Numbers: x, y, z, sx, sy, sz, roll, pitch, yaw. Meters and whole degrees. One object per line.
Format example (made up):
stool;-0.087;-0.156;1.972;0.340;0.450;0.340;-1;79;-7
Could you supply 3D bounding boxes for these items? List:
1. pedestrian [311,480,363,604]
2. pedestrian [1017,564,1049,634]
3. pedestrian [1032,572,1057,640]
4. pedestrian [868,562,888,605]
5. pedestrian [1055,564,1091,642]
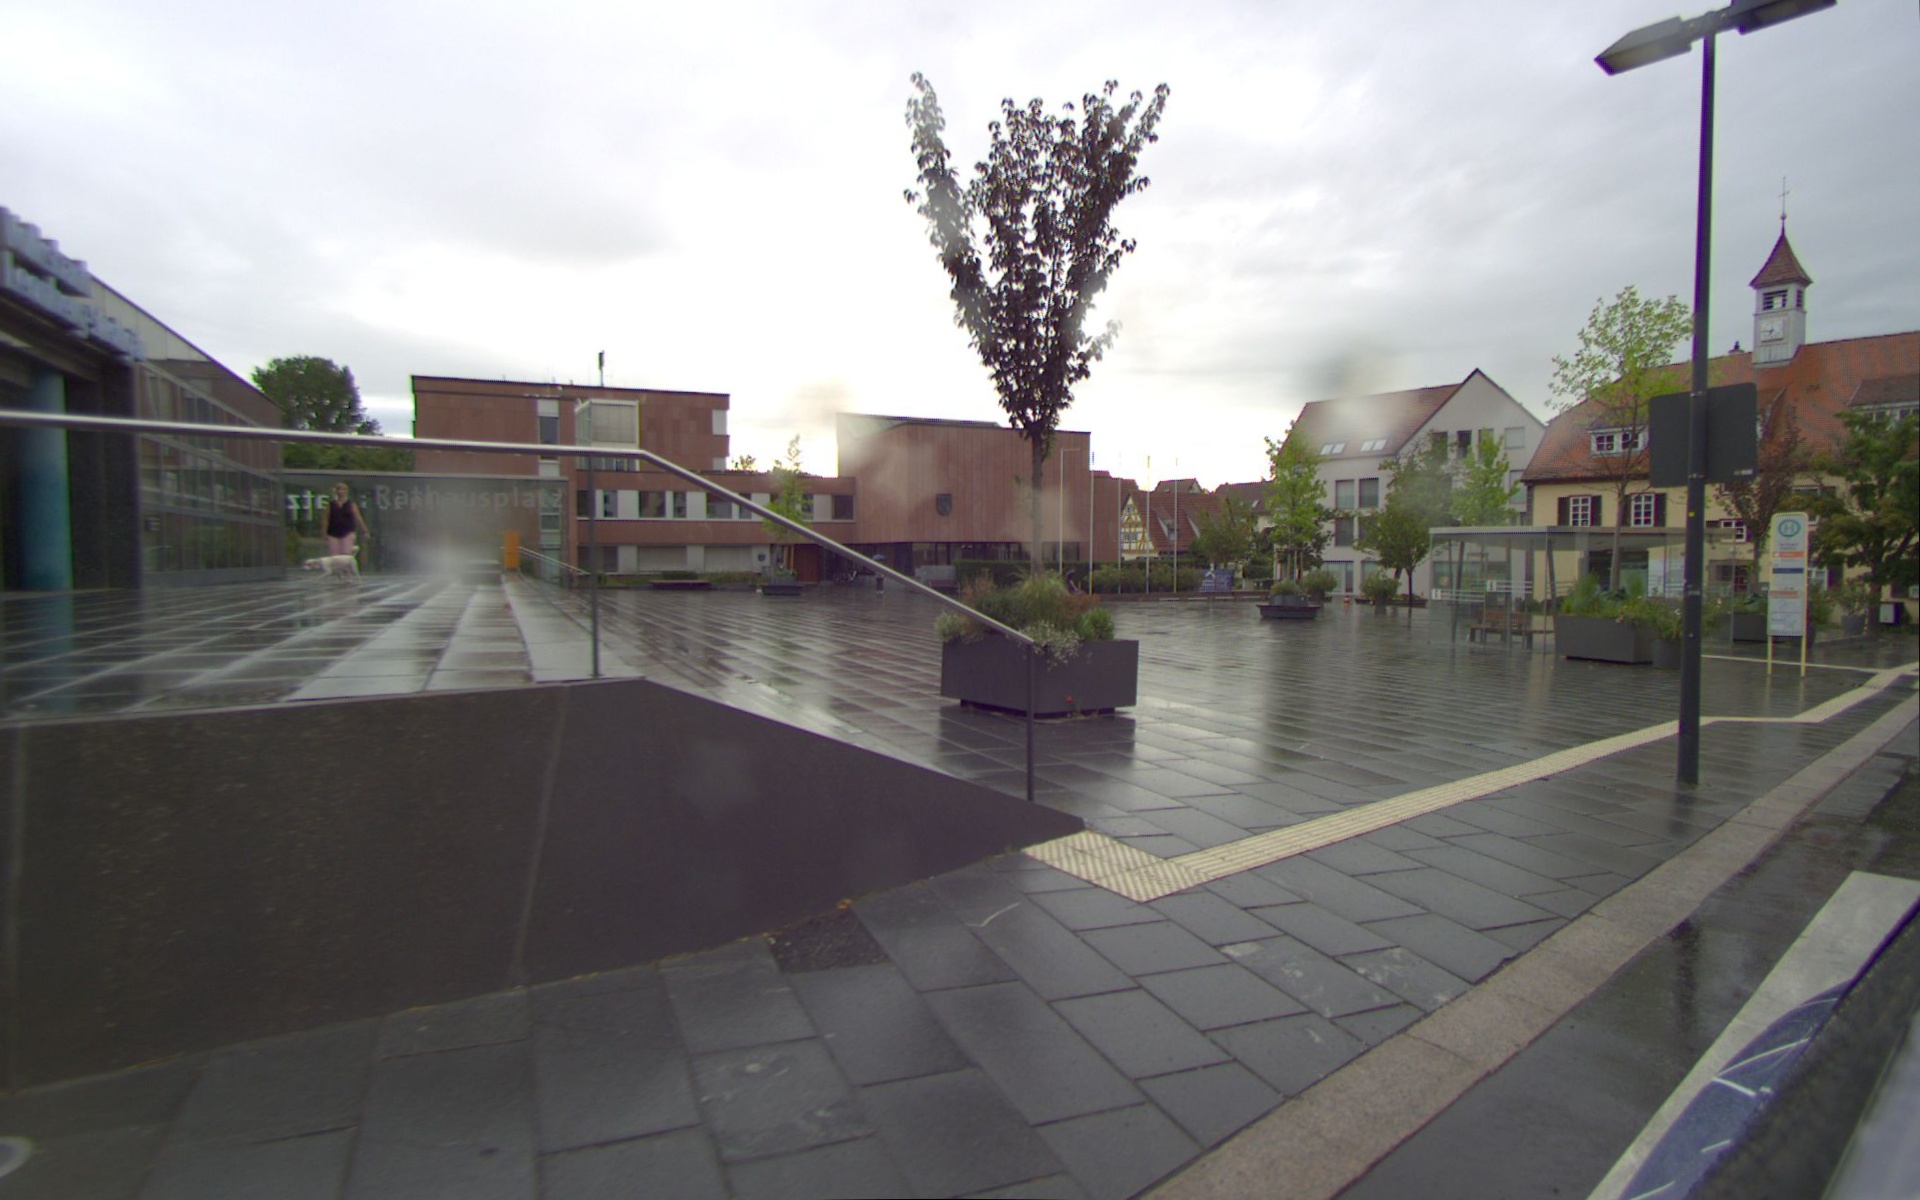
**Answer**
pedestrian;-11.183;-1.029;18.185;0.645;2.173;0.762;0;2;-20
pedestrian;2.642;-0.043;36.617;0.760;2.469;0.946;0;2;-23
pedestrian;3.117;0.196;37.348;0.557;2.469;0.738;0;2;-25
pedestrian;-4.518;-0.936;55.784;0.783;2.336;0.905;0;3;-29
pedestrian;4.004;0.083;35.919;0.814;2.717;1.059;0;2;-20
